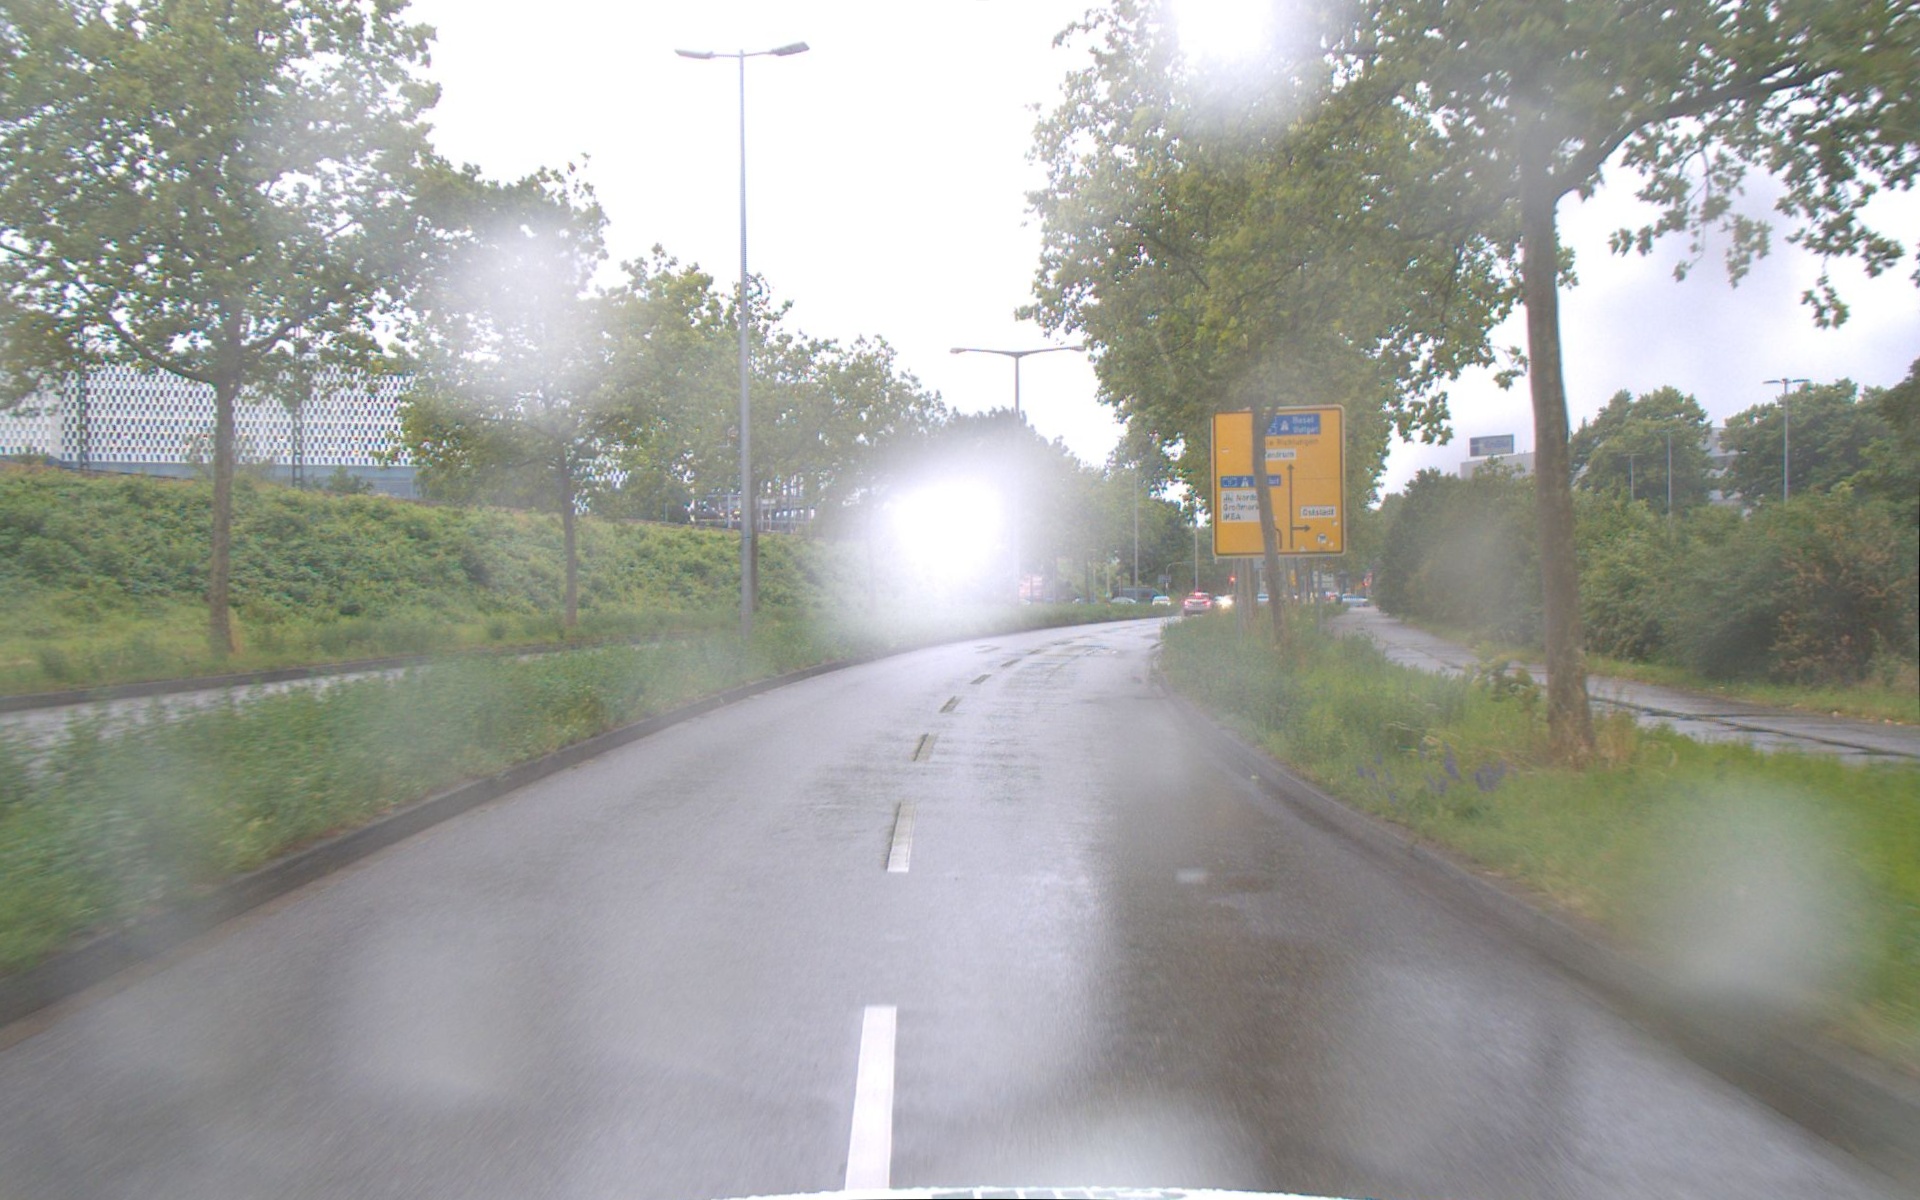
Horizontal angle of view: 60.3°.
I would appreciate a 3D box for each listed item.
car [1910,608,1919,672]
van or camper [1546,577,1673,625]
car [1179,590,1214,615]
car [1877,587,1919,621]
[{"bbox_3d":[23.409,0.880,36.911,4.226,1.395,1.741,0,0,-25],"label":"car"},{"bbox_3d":[35.475,0.056,90.473,6.226,2.588,2.002,0,-1,12],"label":"van or camper"},{"bbox_3d":[14.630,0.165,102.303,1.654,1.458,4.577,0,0,14],"label":"car"},{"bbox_3d":[42.899,0.178,73.091,1.753,1.505,4.051,1,0,-20],"label":"car"}]
